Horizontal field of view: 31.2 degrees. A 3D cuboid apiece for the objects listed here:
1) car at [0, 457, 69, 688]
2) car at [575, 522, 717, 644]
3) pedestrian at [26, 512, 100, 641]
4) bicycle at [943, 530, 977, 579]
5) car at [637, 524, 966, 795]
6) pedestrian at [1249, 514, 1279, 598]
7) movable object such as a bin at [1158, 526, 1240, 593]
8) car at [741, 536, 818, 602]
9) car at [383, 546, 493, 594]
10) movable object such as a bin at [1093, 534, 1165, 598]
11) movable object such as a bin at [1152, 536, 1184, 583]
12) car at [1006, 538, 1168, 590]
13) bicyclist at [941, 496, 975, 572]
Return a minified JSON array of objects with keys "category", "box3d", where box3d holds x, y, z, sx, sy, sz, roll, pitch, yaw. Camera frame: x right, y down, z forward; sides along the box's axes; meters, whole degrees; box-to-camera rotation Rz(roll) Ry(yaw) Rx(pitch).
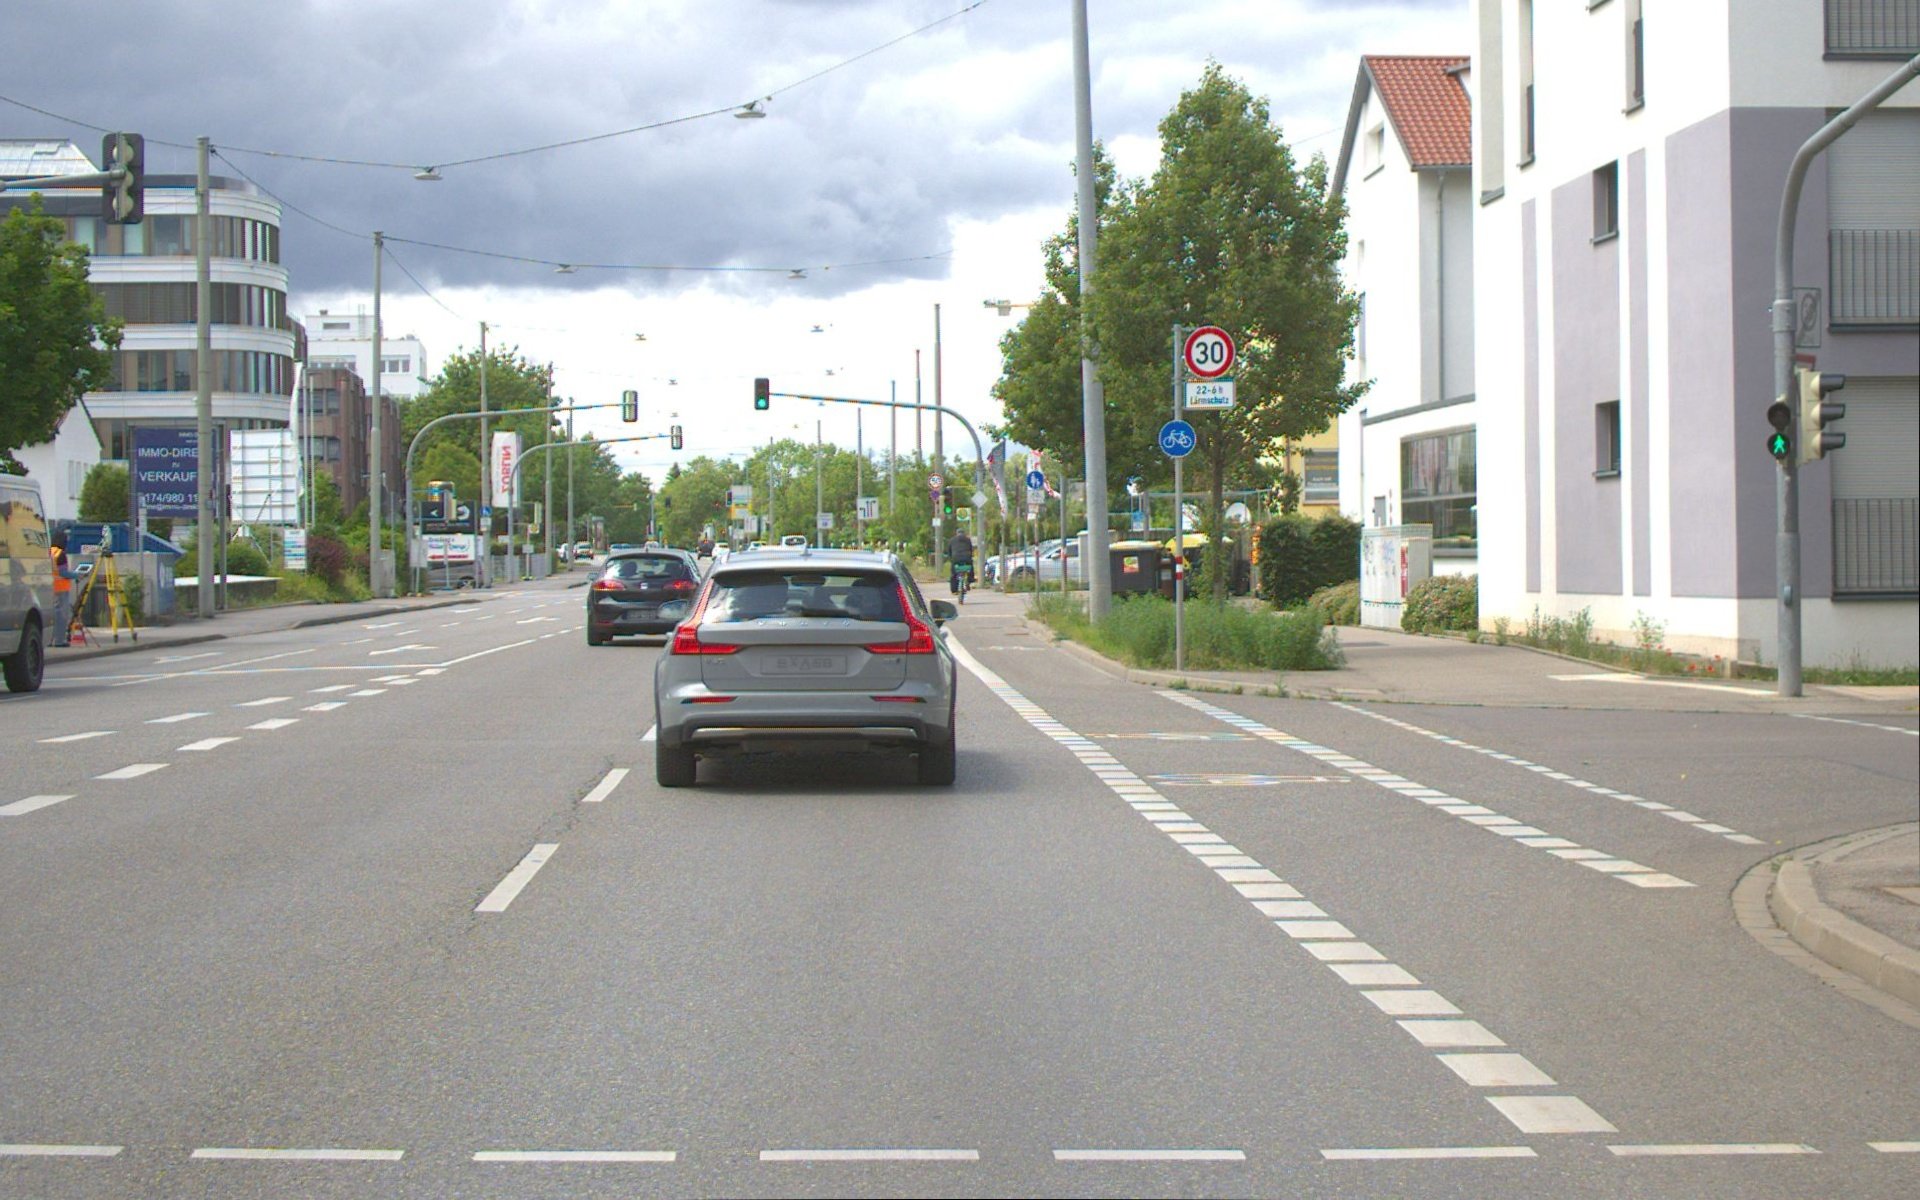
[{"category":"car","box3d":[-11.300,-0.256,36.488,2.142,2.463,6.073,-2,1,-1]},{"category":"car","box3d":[-4.694,-0.250,51.744,1.993,1.711,4.001,2,0,-4]},{"category":"pedestrian","box3d":[-14.084,-0.366,53.975,0.725,2.007,0.808,1,0,41]},{"category":"bicycle","box3d":[-0.006,-1.030,78.287,0.638,1.059,1.978,-4,1,-2]},{"category":"car","box3d":[-1.030,0.349,22.272,1.895,1.549,4.000,2,0,-3]},{"category":"pedestrian","box3d":[6.448,-0.927,72.972,0.507,1.759,0.500,2,0,15]},{"category":"movable object such as a bin","box3d":[5.192,-0.867,74.707,1.321,1.430,1.249,-1,-1,35]},{"category":"car","box3d":[-4.882,-0.815,93.089,1.993,1.689,4.000,2,0,-3]},{"category":"car","box3d":[-20.280,-1.165,133.523,4.092,1.393,1.909,-6,2,-9]},{"category":"movable object such as a bin","box3d":[3.664,-0.721,74.345,1.320,1.356,1.250,0,0,14]},{"category":"movable object such as a bin","box3d":[4.554,-0.886,75.226,0.567,1.023,0.405,-1,-1,35]},{"category":"car","box3d":[3.788,-1.101,103.360,4.696,1.488,2.046,1,1,-2]},{"category":"bicyclist","box3d":[-0.044,-1.503,78.353,0.638,1.670,0.890,-4,1,-2]}]
